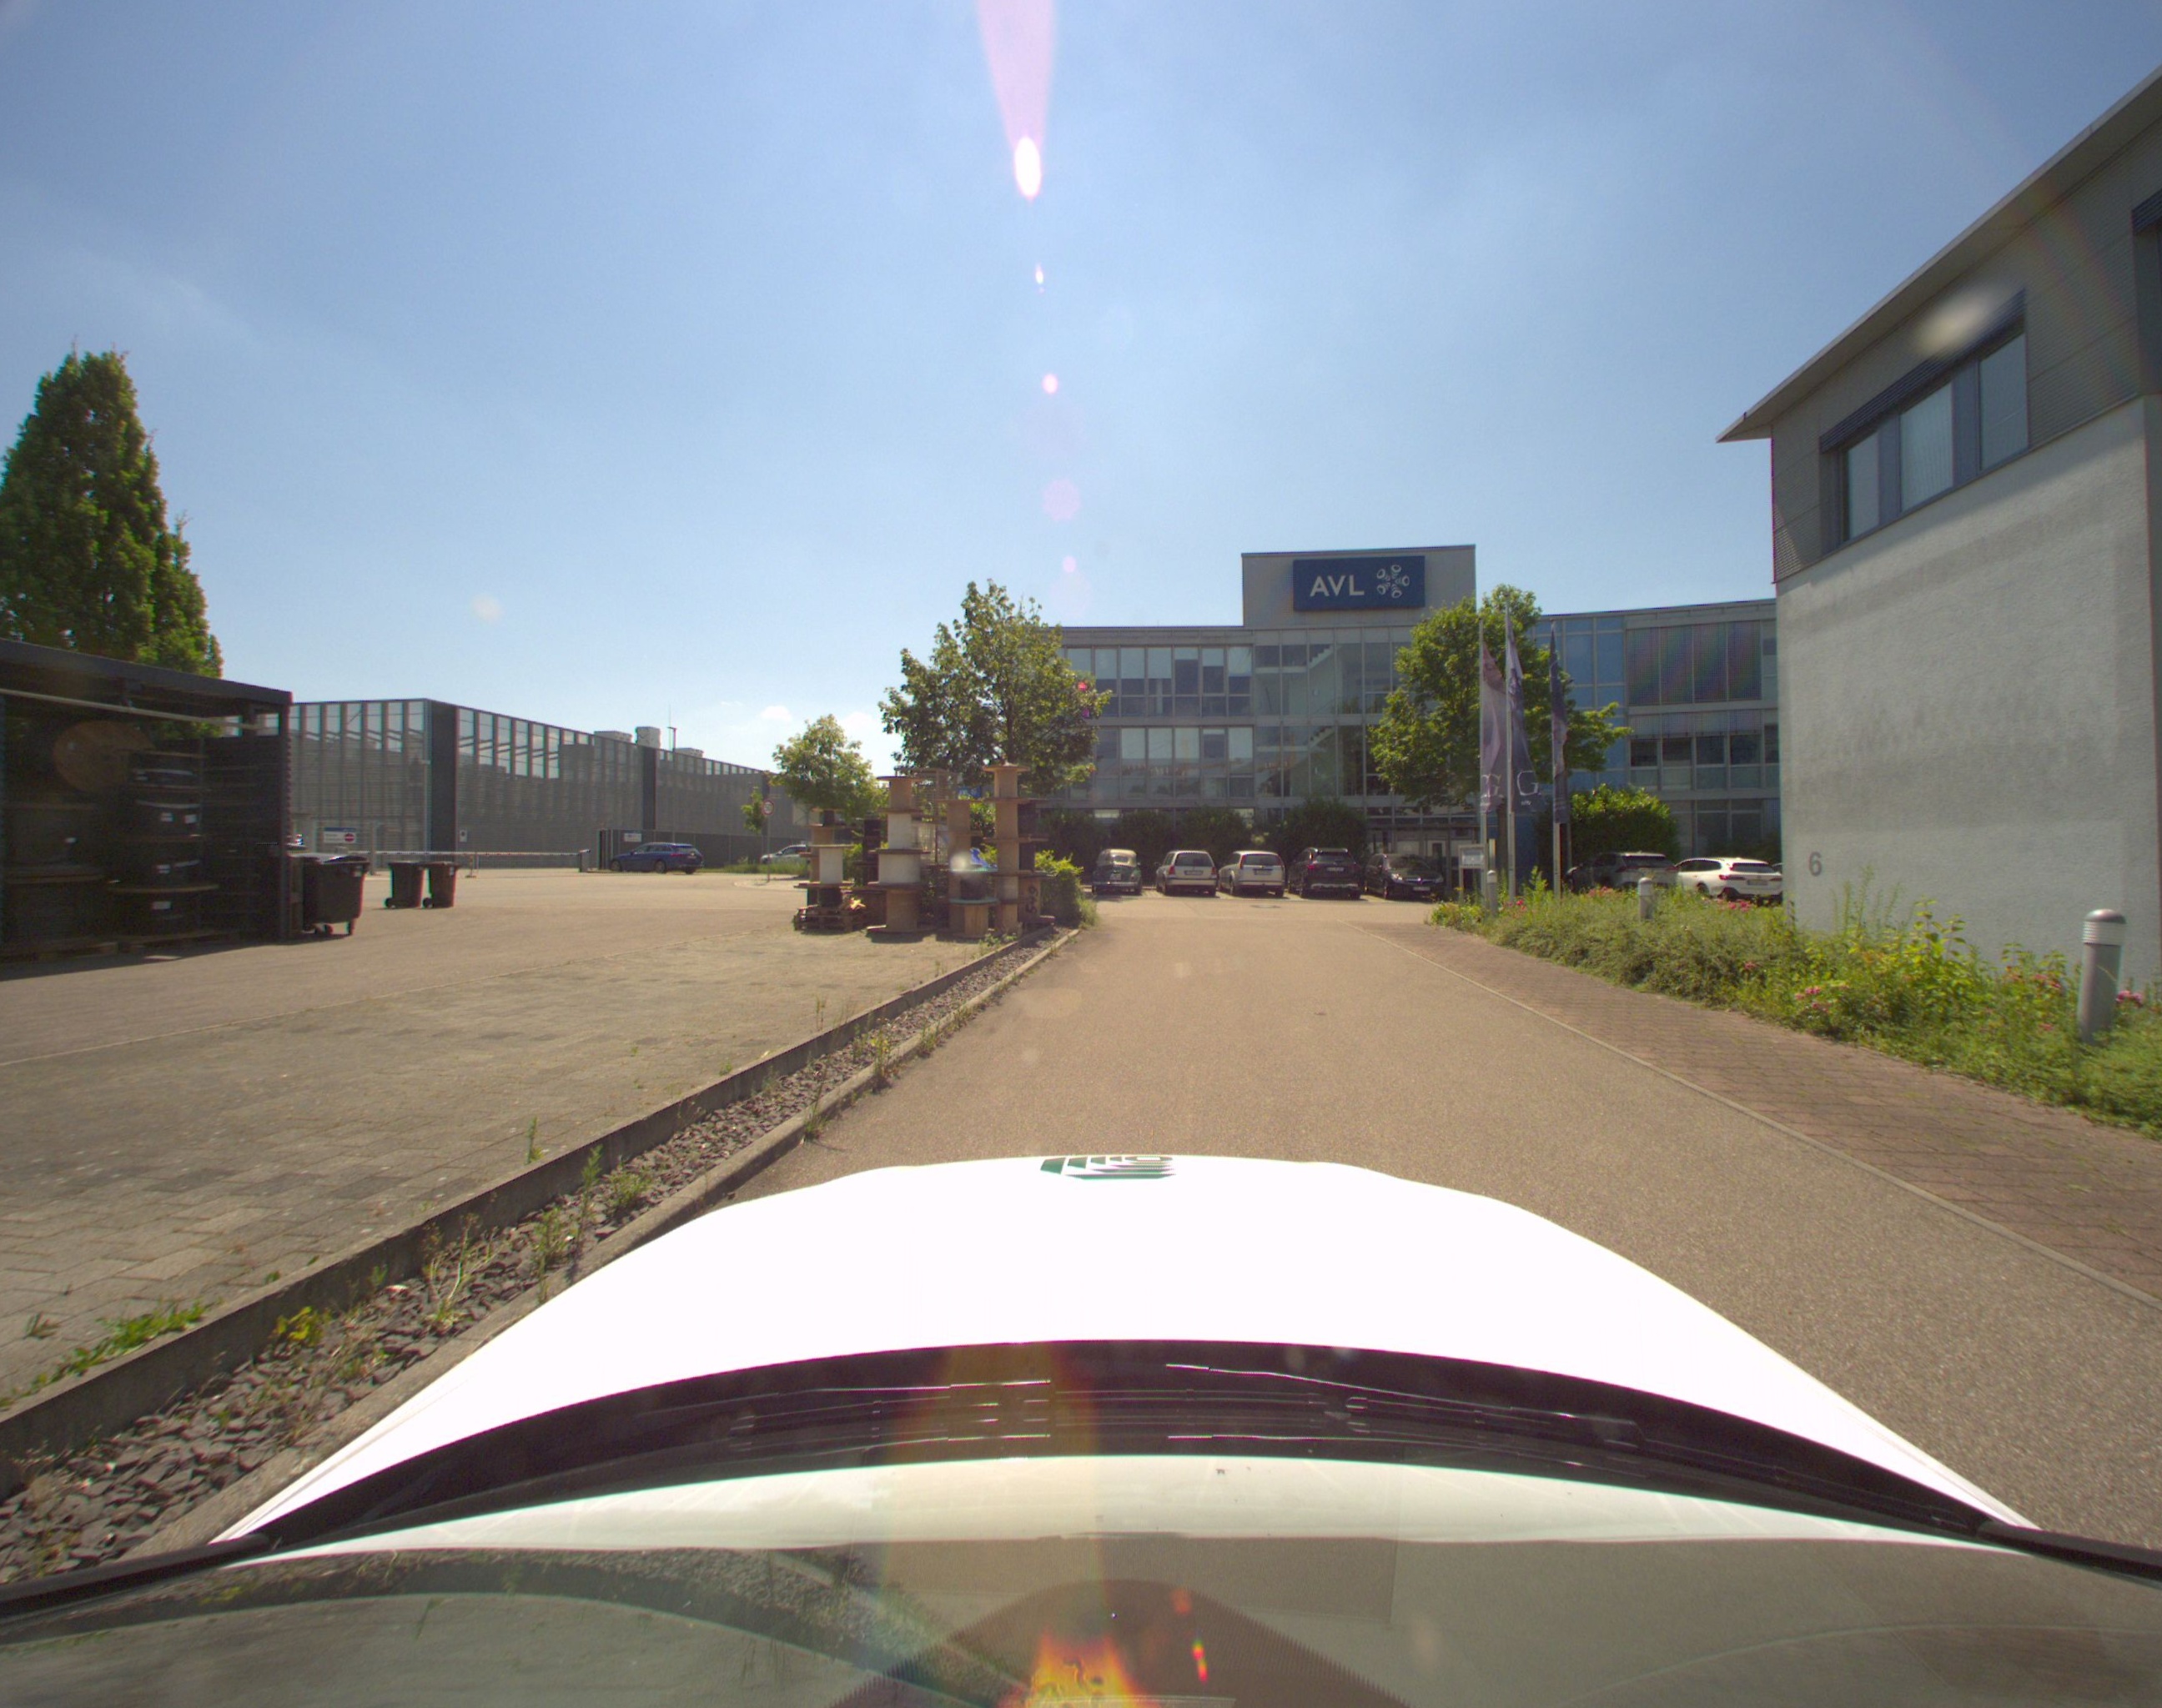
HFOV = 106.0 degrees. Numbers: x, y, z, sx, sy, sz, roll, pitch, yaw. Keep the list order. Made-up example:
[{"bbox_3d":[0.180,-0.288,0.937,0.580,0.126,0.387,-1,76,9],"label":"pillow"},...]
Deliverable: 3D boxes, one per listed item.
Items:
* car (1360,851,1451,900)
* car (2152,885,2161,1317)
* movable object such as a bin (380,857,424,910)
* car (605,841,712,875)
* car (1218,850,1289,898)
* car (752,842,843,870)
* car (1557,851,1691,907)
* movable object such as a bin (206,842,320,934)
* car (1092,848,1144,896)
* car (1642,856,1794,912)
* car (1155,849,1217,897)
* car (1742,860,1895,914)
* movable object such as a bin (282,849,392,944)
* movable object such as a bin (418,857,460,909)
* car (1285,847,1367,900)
[{"bbox_3d":[10.718,0.657,27.203,1.761,1.482,4.266,0,1,6],"label":"car"},{"bbox_3d":[3.964,0.788,0.325,1.788,1.398,4.433,0,0,11],"label":"car"},{"bbox_3d":[-13.563,0.584,16.272,0.583,1.027,0.422,0,0,-26],"label":"movable object such as a bin"},{"bbox_3d":[-19.896,0.162,38.361,4.462,1.491,2.010,1,1,21],"label":"car"},{"bbox_3d":[5.822,0.638,27.844,1.758,1.449,3.656,1,1,2],"label":"car"},{"bbox_3d":[-16.589,0.103,47.648,4.798,1.491,2.010,1,1,21],"label":"car"},{"bbox_3d":[17.365,0.729,26.338,1.810,1.619,4.347,0,1,6],"label":"car"},{"bbox_3d":[-12.390,0.491,12.364,0.702,1.330,0.977,0,0,13],"label":"movable object such as a bin"},{"bbox_3d":[1.297,0.553,27.446,1.534,1.449,3.660,1,1,6],"label":"car"},{"bbox_3d":[19.785,0.860,25.558,1.727,1.491,4.347,1,1,6],"label":"car"},{"bbox_3d":[3.460,0.584,27.462,1.725,1.449,3.656,1,1,2],"label":"car"},{"bbox_3d":[22.593,0.944,25.190,1.723,1.429,4.358,1,1,16],"label":"car"},{"bbox_3d":[-11.031,0.609,12.096,0.805,1.345,0.887,0,0,13],"label":"movable object such as a bin"},{"bbox_3d":[-13.024,0.577,16.532,0.580,1.036,0.422,0,0,-26],"label":"movable object such as a bin"},{"bbox_3d":[8.129,0.584,27.362,1.917,1.610,3.993,1,1,6],"label":"car"}]
